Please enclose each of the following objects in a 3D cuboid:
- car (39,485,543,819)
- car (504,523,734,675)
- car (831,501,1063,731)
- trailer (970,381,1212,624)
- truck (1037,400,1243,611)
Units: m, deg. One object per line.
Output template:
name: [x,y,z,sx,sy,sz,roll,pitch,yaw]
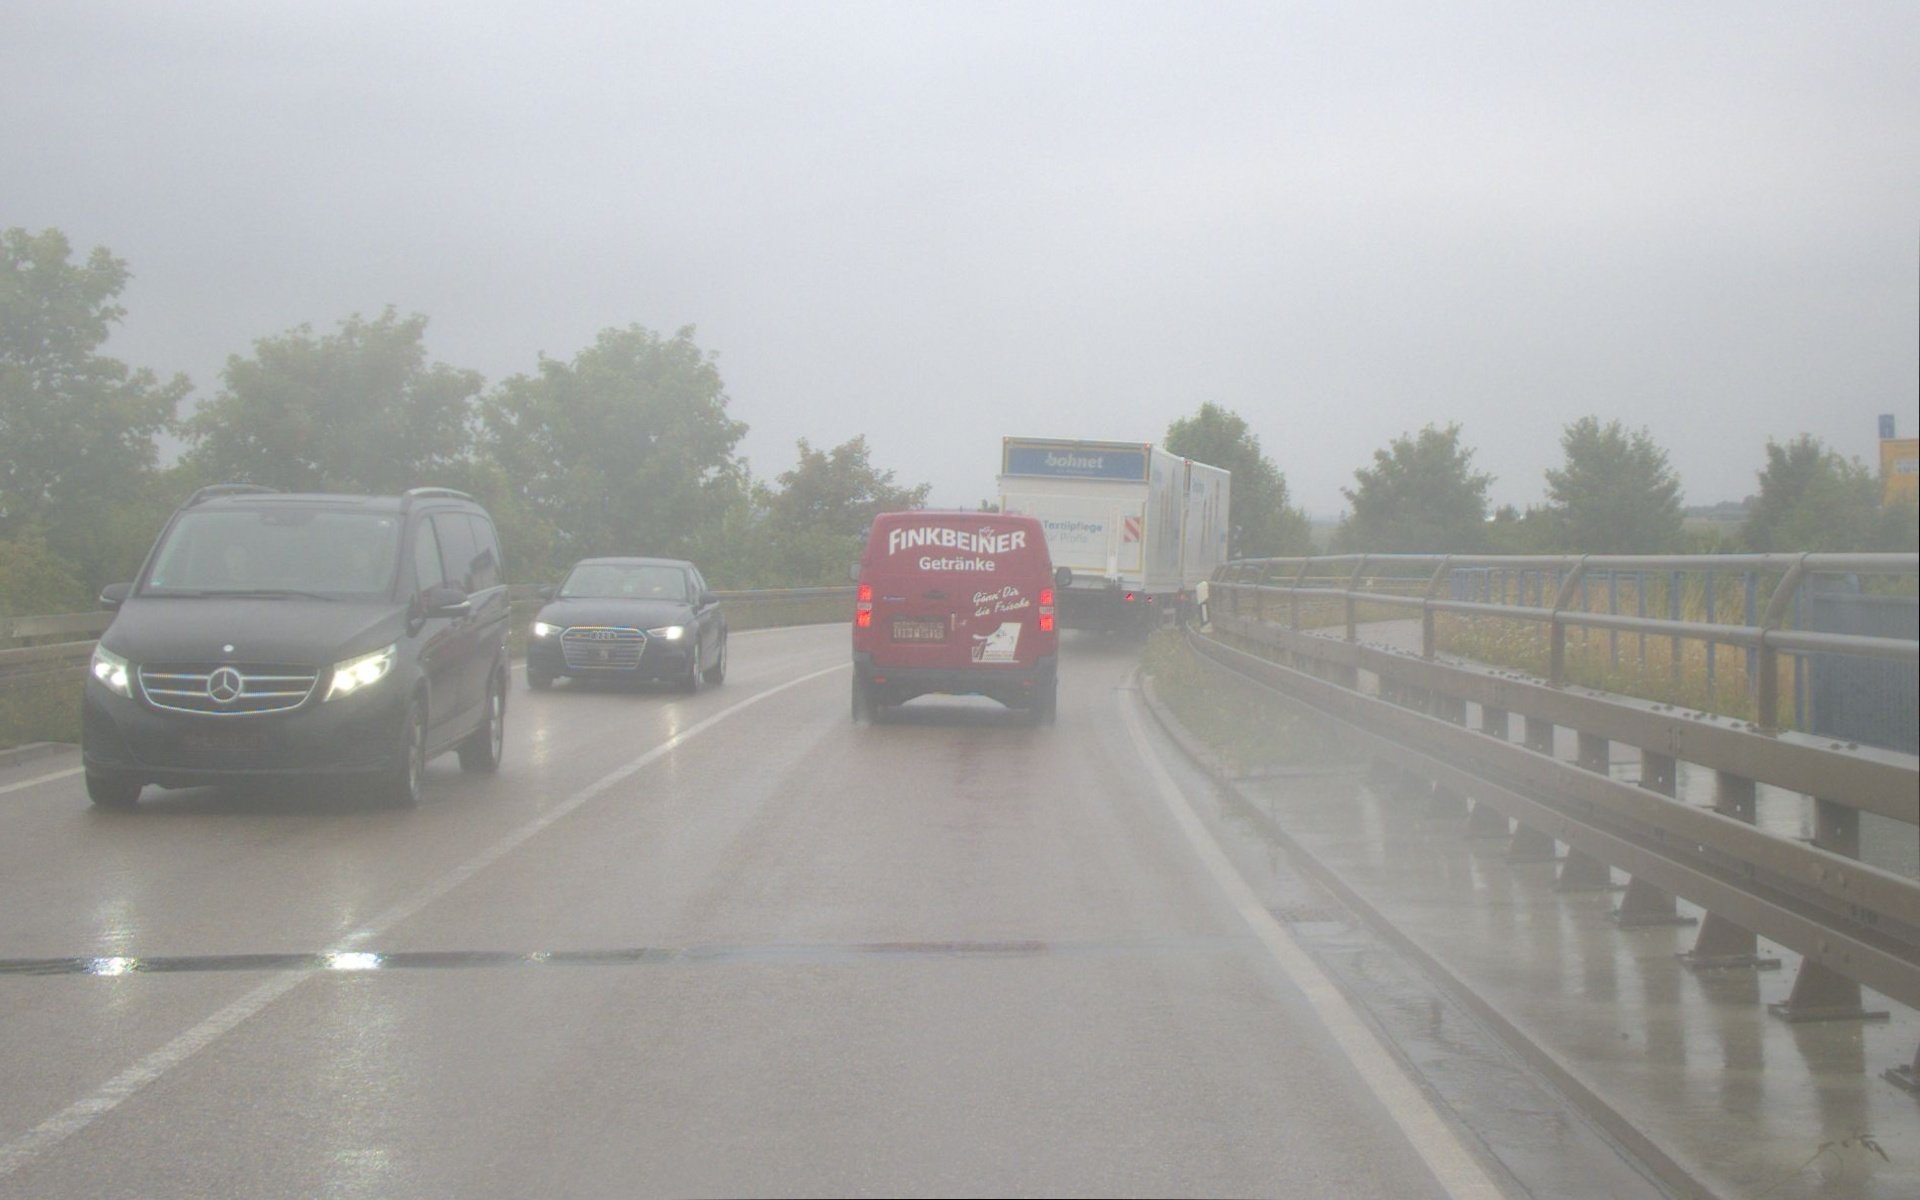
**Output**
car: [-3.997,0.227,21.468,2.066,1.830,4.931,0,1,1]
car: [-3.625,-0.056,37.209,1.839,1.532,4.069,0,1,4]
car: [-0.135,0.079,32.071,1.993,1.919,4.144,1,2,-1]
trailer: [2.489,-1.703,61.680,3.202,3.908,8.737,3,1,8]
truck: [3.803,-1.893,70.350,3.202,3.908,8.737,3,1,8]
